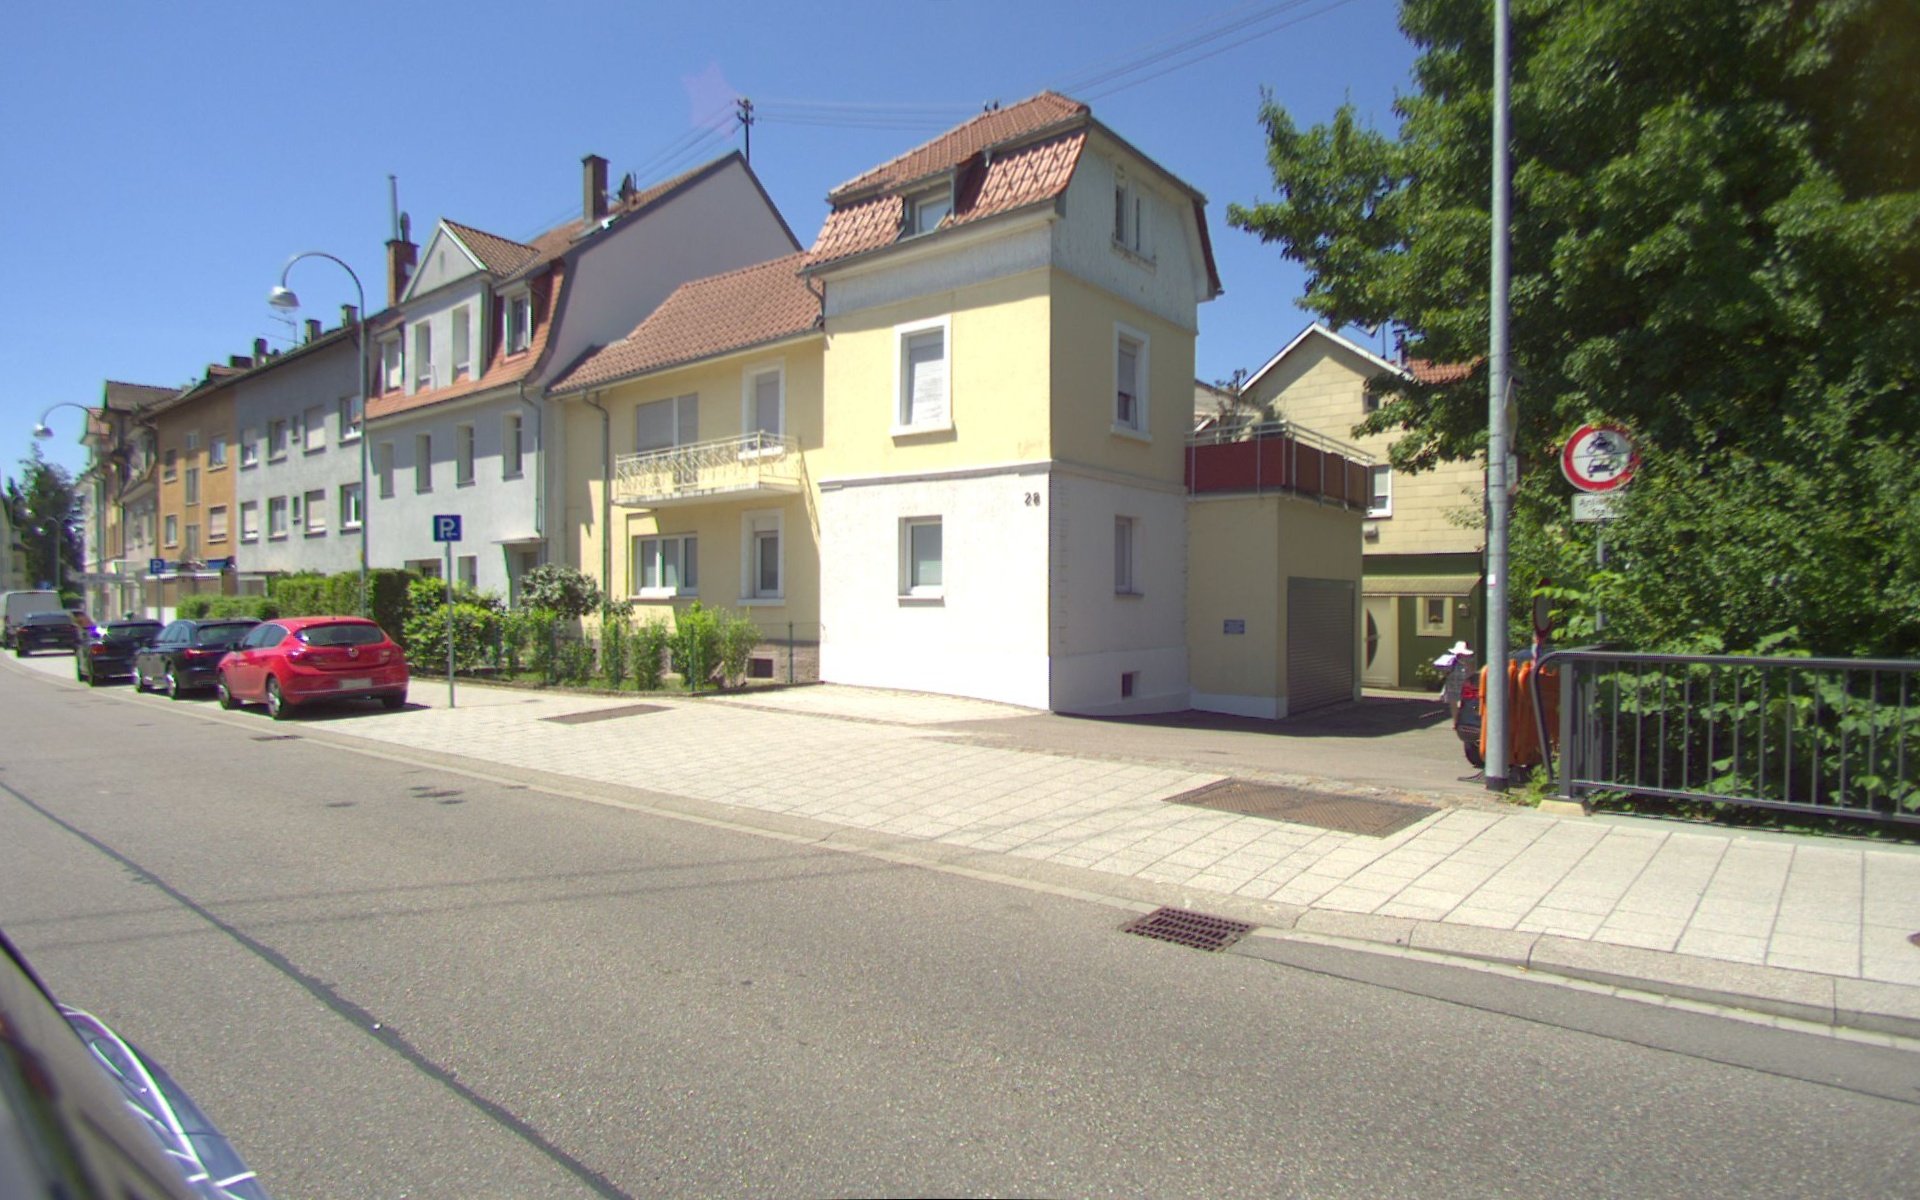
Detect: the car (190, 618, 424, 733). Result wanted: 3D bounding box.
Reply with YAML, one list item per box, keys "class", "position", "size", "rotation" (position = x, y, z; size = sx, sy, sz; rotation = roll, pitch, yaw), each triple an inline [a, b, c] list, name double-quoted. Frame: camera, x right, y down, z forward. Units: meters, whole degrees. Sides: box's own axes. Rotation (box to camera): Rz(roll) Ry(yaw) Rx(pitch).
- class: "car"
  position: [-10.666, 1.102, 16.382]
  size: [4.735, 1.490, 1.859]
  rotation: [-1, 2, 41]

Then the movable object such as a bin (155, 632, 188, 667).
- class: "movable object such as a bin"
  position: [-24.242, 1.507, 31.130]
  size: [0.651, 1.056, 0.666]
  rotation: [-1, -2, 40]

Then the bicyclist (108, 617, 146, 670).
- class: "bicyclist"
  position: [-26.492, 1.364, 32.176]
  size: [0.834, 1.672, 0.774]
  rotation: [-1, -1, 39]

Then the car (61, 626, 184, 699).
- class: "car"
  position: [-19.953, 1.417, 24.046]
  size: [4.199, 1.470, 1.768]
  rotation: [-2, 2, 44]

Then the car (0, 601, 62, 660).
- class: "car"
  position: [-42.743, 1.349, 46.200]
  size: [6.119, 2.467, 2.096]
  rotation: [-1, 1, 44]

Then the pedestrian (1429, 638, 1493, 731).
- class: "pedestrian"
  position: [8.553, 1.411, 17.263]
  size: [0.739, 1.515, 0.898]
  rotation: [-1, -2, 44]

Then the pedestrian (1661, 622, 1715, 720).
- class: "pedestrian"
  position: [14.107, 1.351, 19.617]
  size: [0.842, 1.835, 0.705]
  rotation: [2, -2, -45]

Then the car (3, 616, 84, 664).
- class: "car"
  position: [-34.711, 1.468, 38.449]
  size: [2.059, 1.627, 5.116]
  rotation: [-2, 0, -40]

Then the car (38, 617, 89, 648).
- class: "car"
  position: [-48.186, 1.704, 54.396]
  size: [4.117, 1.553, 1.774]
  rotation: [-1, 0, 45]

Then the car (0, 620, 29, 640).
- class: "car"
  position: [-70.504, 2.223, 74.478]
  size: [1.706, 1.422, 4.013]
  rotation: [1, -2, -23]

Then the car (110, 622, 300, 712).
- class: "car"
  position: [-15.095, 1.252, 20.105]
  size: [5.303, 1.472, 1.845]
  rotation: [-2, 1, 40]

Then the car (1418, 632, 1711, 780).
- class: "car"
  position: [7.404, 1.223, 12.187]
  size: [2.001, 1.430, 4.475]
  rotation: [-1, -5, 45]

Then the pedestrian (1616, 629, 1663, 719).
- class: "pedestrian"
  position: [13.488, 1.438, 20.082]
  size: [0.842, 1.737, 0.602]
  rotation: [2, -2, -45]

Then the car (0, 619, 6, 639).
- class: "car"
  position: [-78.418, 2.307, 81.444]
  size: [4.386, 1.500, 1.778]
  rotation: [1, 2, 39]
